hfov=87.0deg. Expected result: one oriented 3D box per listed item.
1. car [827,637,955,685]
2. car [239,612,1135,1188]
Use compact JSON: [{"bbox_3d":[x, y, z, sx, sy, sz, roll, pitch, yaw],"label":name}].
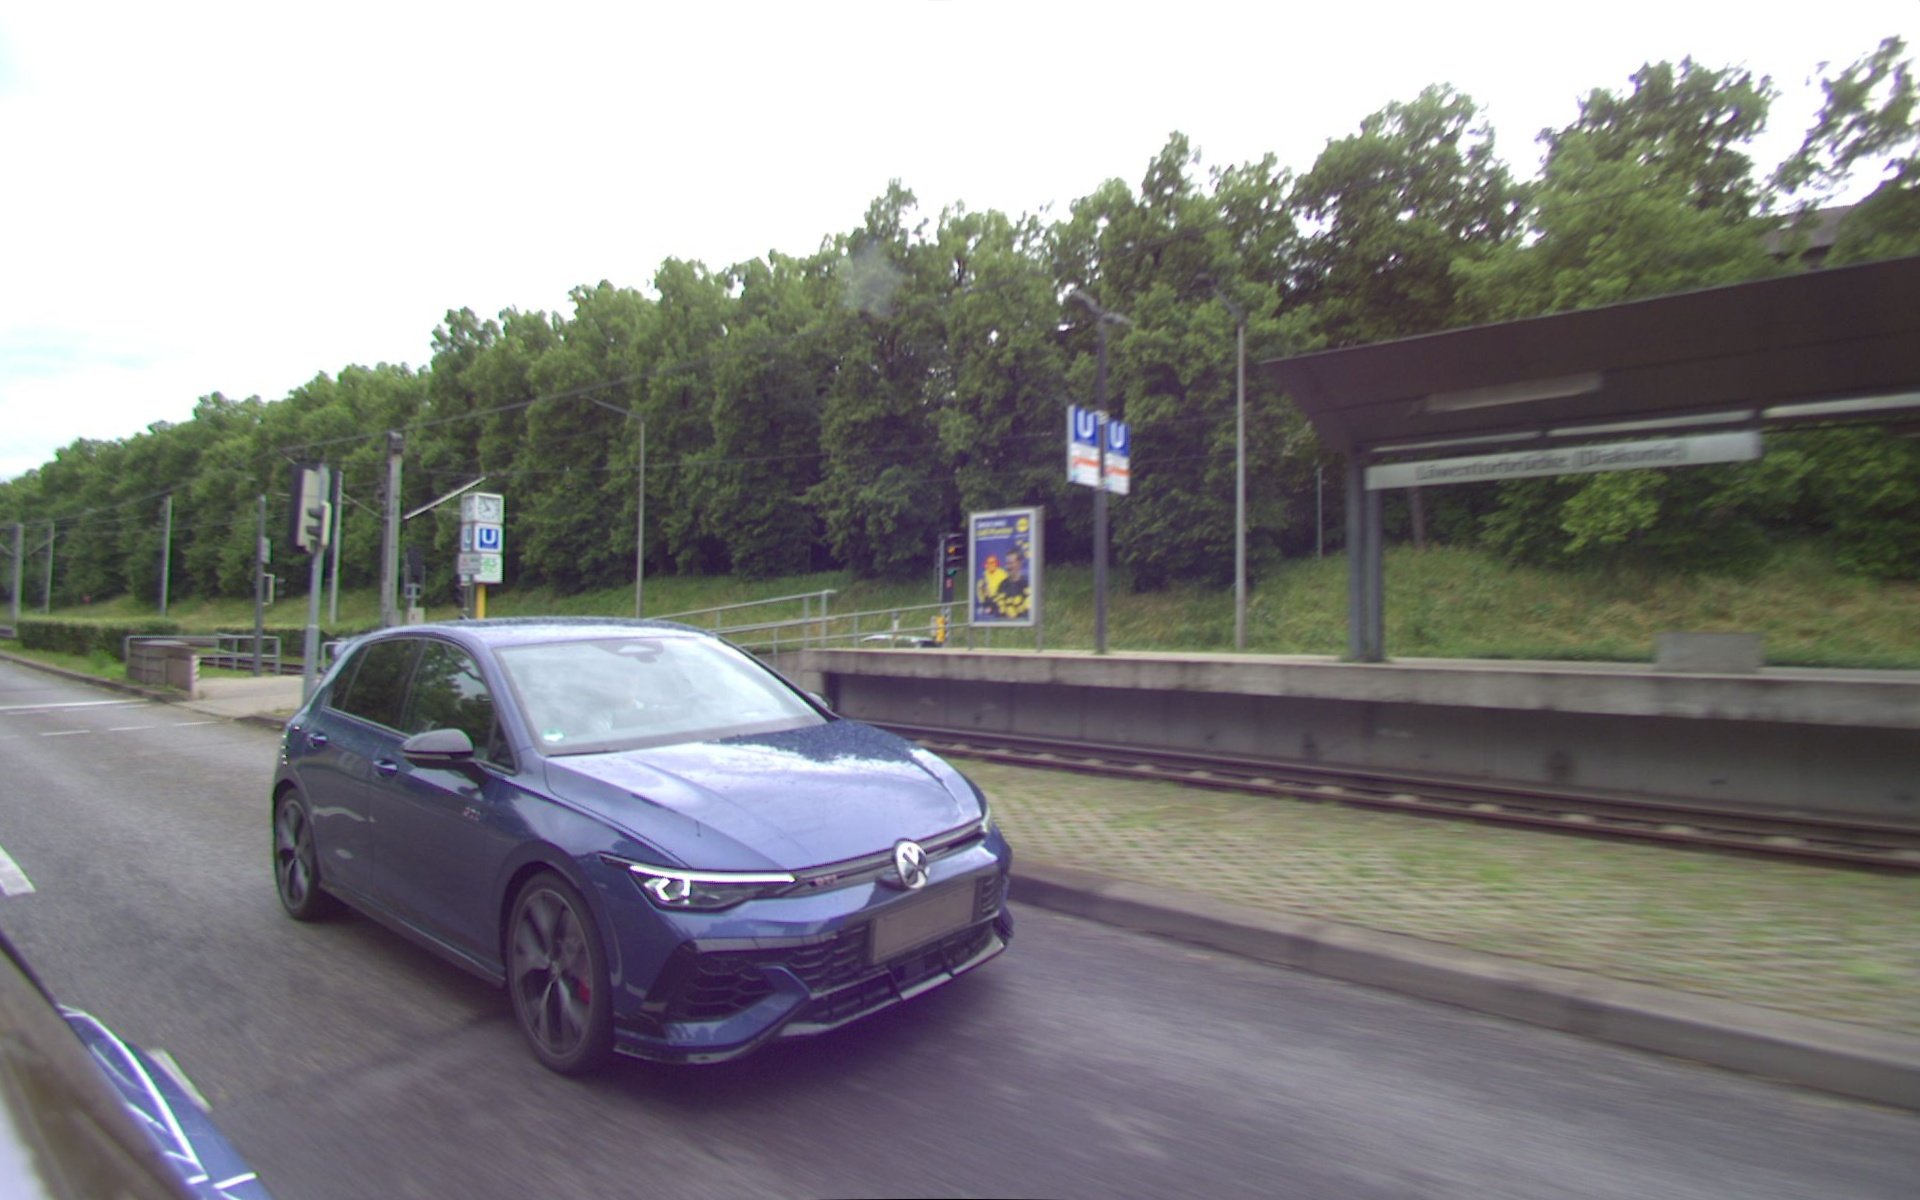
[{"bbox_3d":[-2.296,1.966,33.309,3.991,1.414,1.780,-1,-2,36],"label":"car"},{"bbox_3d":[-1.563,0.771,4.573,4.344,1.389,1.789,-1,-1,41],"label":"car"}]
